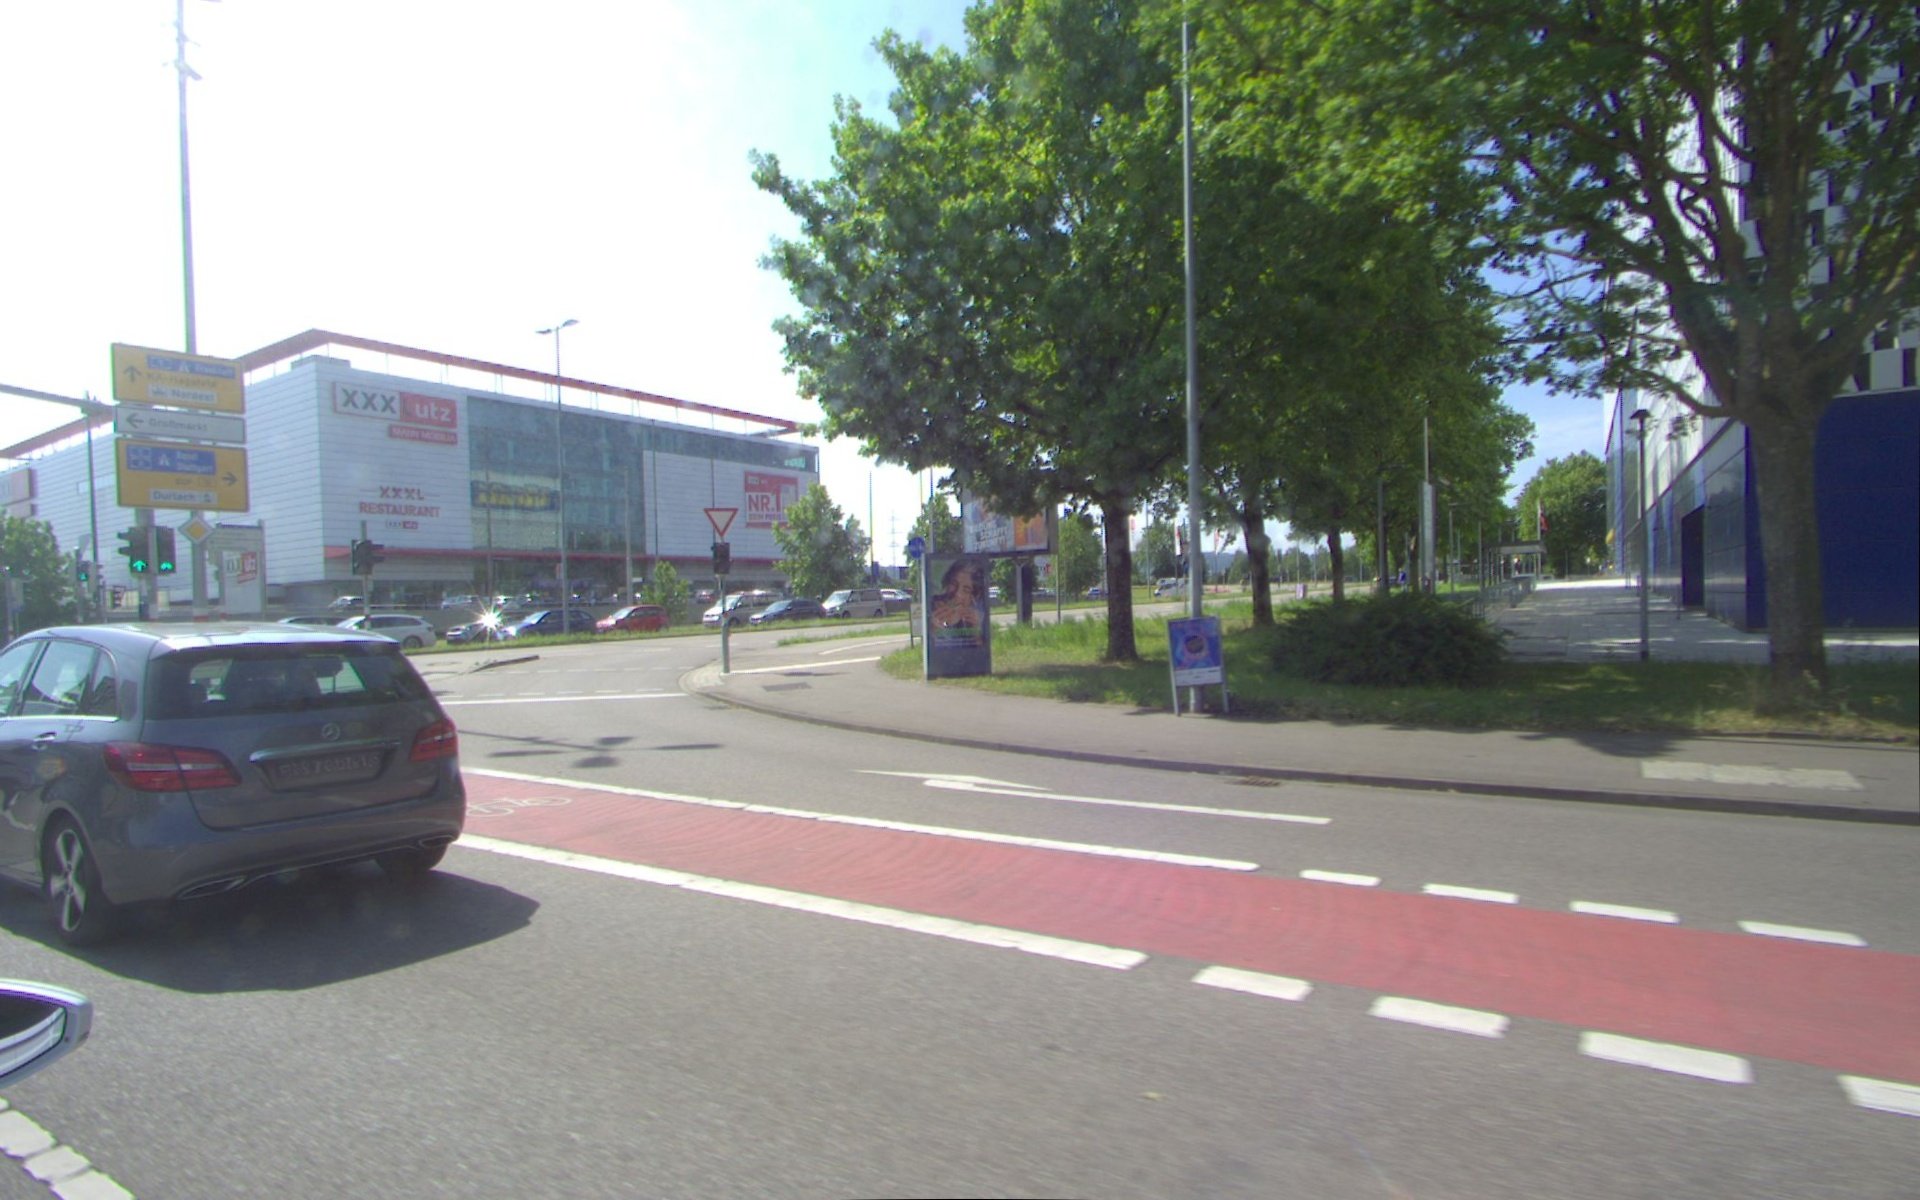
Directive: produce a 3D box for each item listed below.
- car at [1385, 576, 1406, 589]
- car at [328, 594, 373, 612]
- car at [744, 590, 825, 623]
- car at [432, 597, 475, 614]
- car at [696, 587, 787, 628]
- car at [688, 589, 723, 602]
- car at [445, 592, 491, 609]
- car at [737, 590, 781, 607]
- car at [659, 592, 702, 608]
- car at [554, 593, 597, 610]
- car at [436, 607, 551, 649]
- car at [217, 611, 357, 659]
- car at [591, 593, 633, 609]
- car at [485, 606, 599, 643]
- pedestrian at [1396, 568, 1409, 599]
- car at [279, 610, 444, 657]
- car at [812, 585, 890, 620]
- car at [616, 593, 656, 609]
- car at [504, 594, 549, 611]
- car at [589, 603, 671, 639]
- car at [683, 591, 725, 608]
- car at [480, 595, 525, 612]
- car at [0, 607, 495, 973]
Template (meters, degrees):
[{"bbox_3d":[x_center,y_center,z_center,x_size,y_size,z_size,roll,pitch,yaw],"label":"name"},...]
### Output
[{"bbox_3d":[53.817,-2.184,123.665,1.619,1.555,3.892,-1,0,34],"label":"car"},{"bbox_3d":[-51.333,0.282,84.298,4.144,1.438,1.765,-1,0,35],"label":"car"},{"bbox_3d":[-9.089,0.319,52.167,1.662,1.641,4.101,-1,0,37],"label":"car"},{"bbox_3d":[-47.378,0.525,93.656,3.858,1.438,1.682,-1,0,30],"label":"car"},{"bbox_3d":[-11.711,0.395,53.912,1.938,2.001,4.658,-3,-1,36],"label":"car"},{"bbox_3d":[-29.704,-0.519,117.007,4.144,1.438,1.679,-1,0,35],"label":"car"},{"bbox_3d":[-43.030,0.034,87.606,3.951,1.438,1.795,-1,0,32],"label":"car"},{"bbox_3d":[-19.231,-0.146,95.863,4.052,1.438,1.783,-1,0,33],"label":"car"},{"bbox_3d":[-26.405,0.025,94.542,4.055,1.438,1.679,-1,0,35],"label":"car"},{"bbox_3d":[-36.923,0.143,96.089,4.144,1.438,1.894,-1,0,35],"label":"car"},{"bbox_3d":[-19.862,1.179,42.769,1.883,1.528,4.015,-3,0,35],"label":"car"},{"bbox_3d":[-24.543,1.261,36.642,1.785,1.579,3.871,-2,0,36],"label":"car"},{"bbox_3d":[-34.723,0.121,99.920,4.144,1.438,1.799,-1,0,35],"label":"car"},{"bbox_3d":[-17.206,1.005,41.361,1.701,1.359,4.032,-2,-1,35],"label":"car"},{"bbox_3d":[29.552,-1.094,66.905,0.670,2.039,0.600,-1,-2,18],"label":"pedestrian"},{"bbox_3d":[-21.393,1.180,35.987,1.934,1.444,4.701,-3,0,35],"label":"car"},{"bbox_3d":[-6.604,0.127,61.143,1.891,1.961,4.756,-3,-1,37],"label":"car"},{"bbox_3d":[-32.895,0.109,101.745,4.144,1.438,1.730,-1,0,35],"label":"car"},{"bbox_3d":[-39.912,0.249,92.179,4.144,1.438,1.866,-1,0,35],"label":"car"},{"bbox_3d":[-15.816,0.977,48.052,1.578,1.596,3.457,-1,0,36],"label":"car"},{"bbox_3d":[-24.655,-0.044,96.396,3.956,1.438,1.734,-1,0,35],"label":"car"},{"bbox_3d":[-40.938,0.333,89.507,4.144,1.438,1.826,-1,0,35],"label":"car"},{"bbox_3d":[-4.873,0.850,6.100,4.078,1.559,1.771,-1,-1,32],"label":"car"}]
